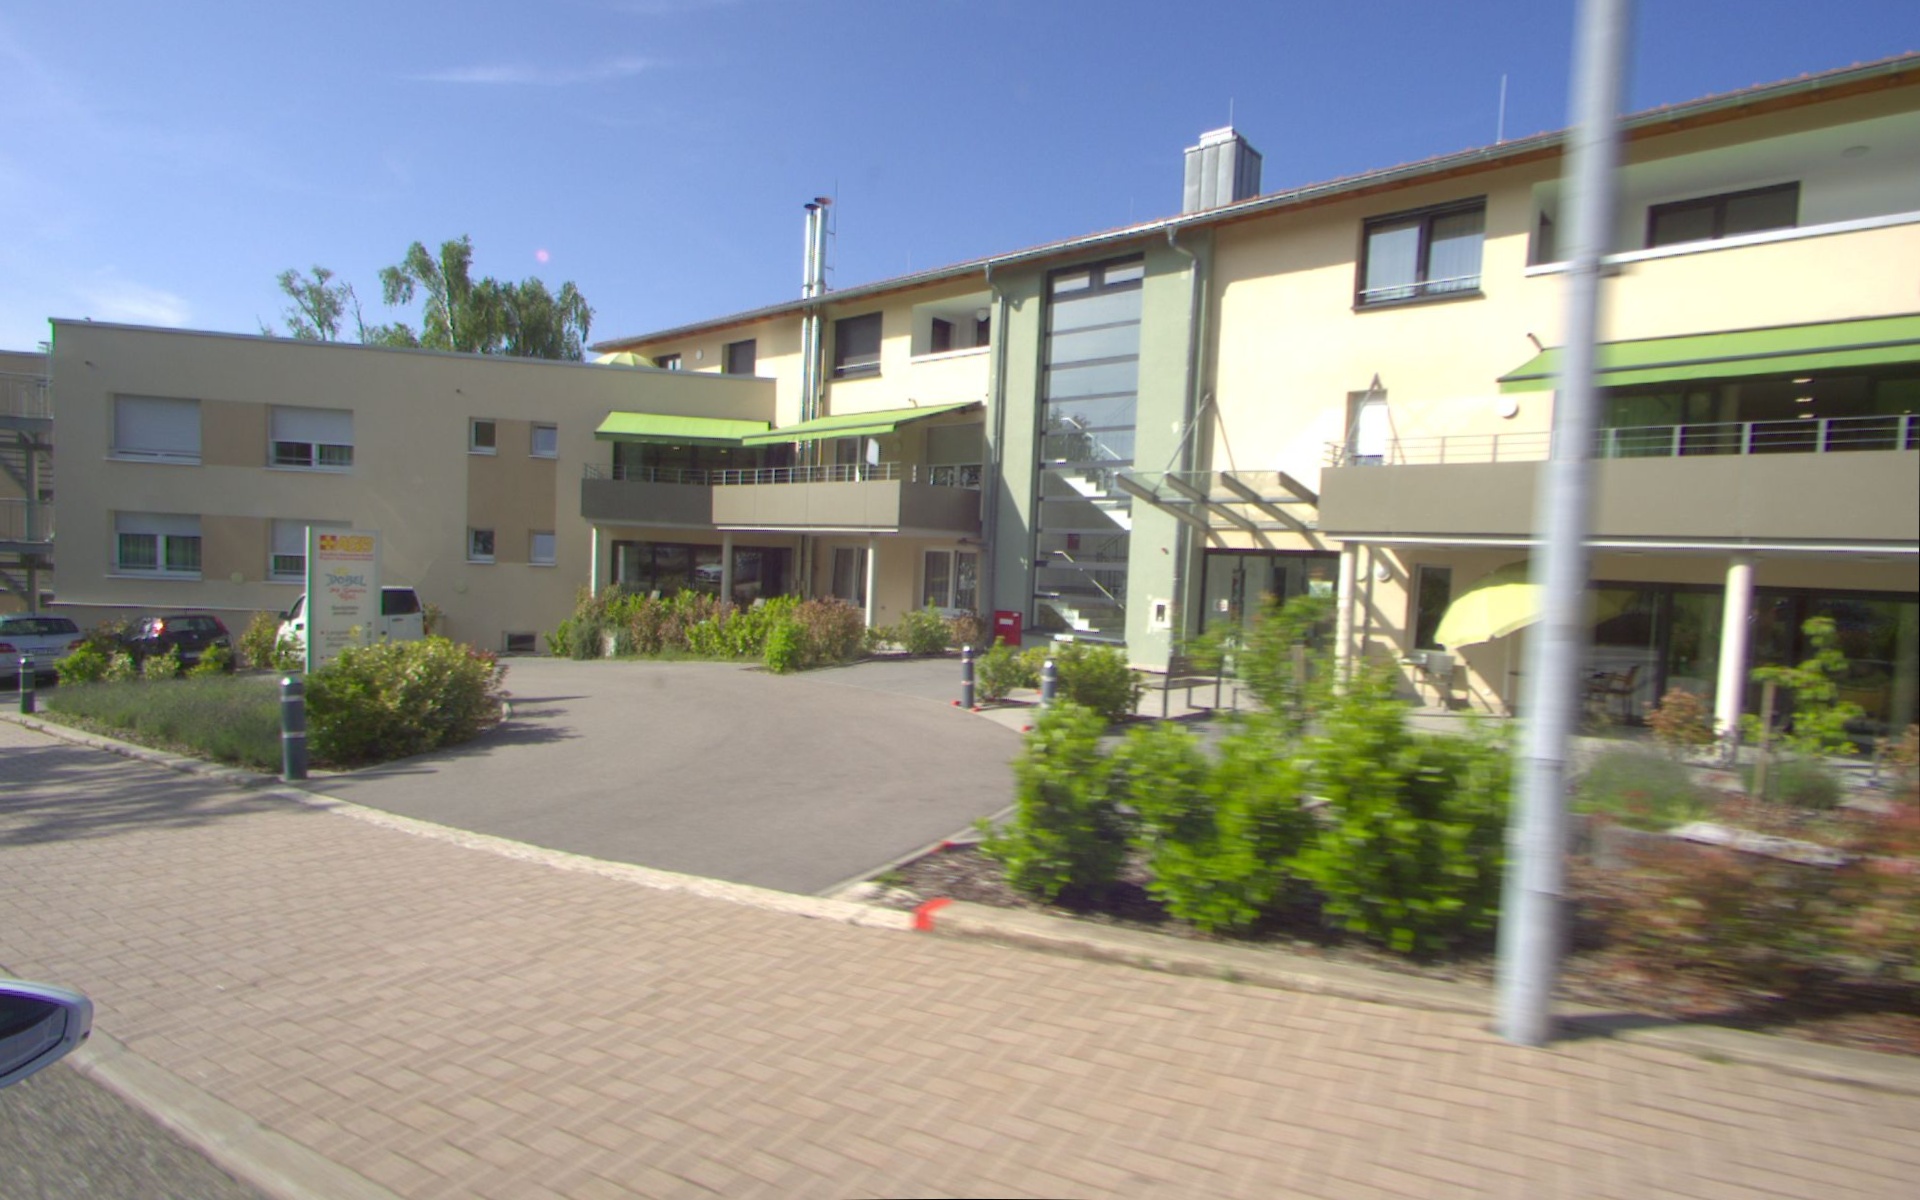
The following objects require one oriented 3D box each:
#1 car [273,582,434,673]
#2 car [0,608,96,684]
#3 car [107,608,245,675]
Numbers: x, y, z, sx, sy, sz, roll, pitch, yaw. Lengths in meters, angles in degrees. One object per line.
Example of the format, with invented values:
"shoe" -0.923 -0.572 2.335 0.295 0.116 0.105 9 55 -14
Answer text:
"car" -14.467 0.613 23.784 4.676 1.961 1.796 -1 0 39
"car" -20.951 0.968 22.428 3.958 1.556 1.701 -1 0 39
"car" -18.601 0.933 23.712 3.958 1.446 1.701 -1 0 39
